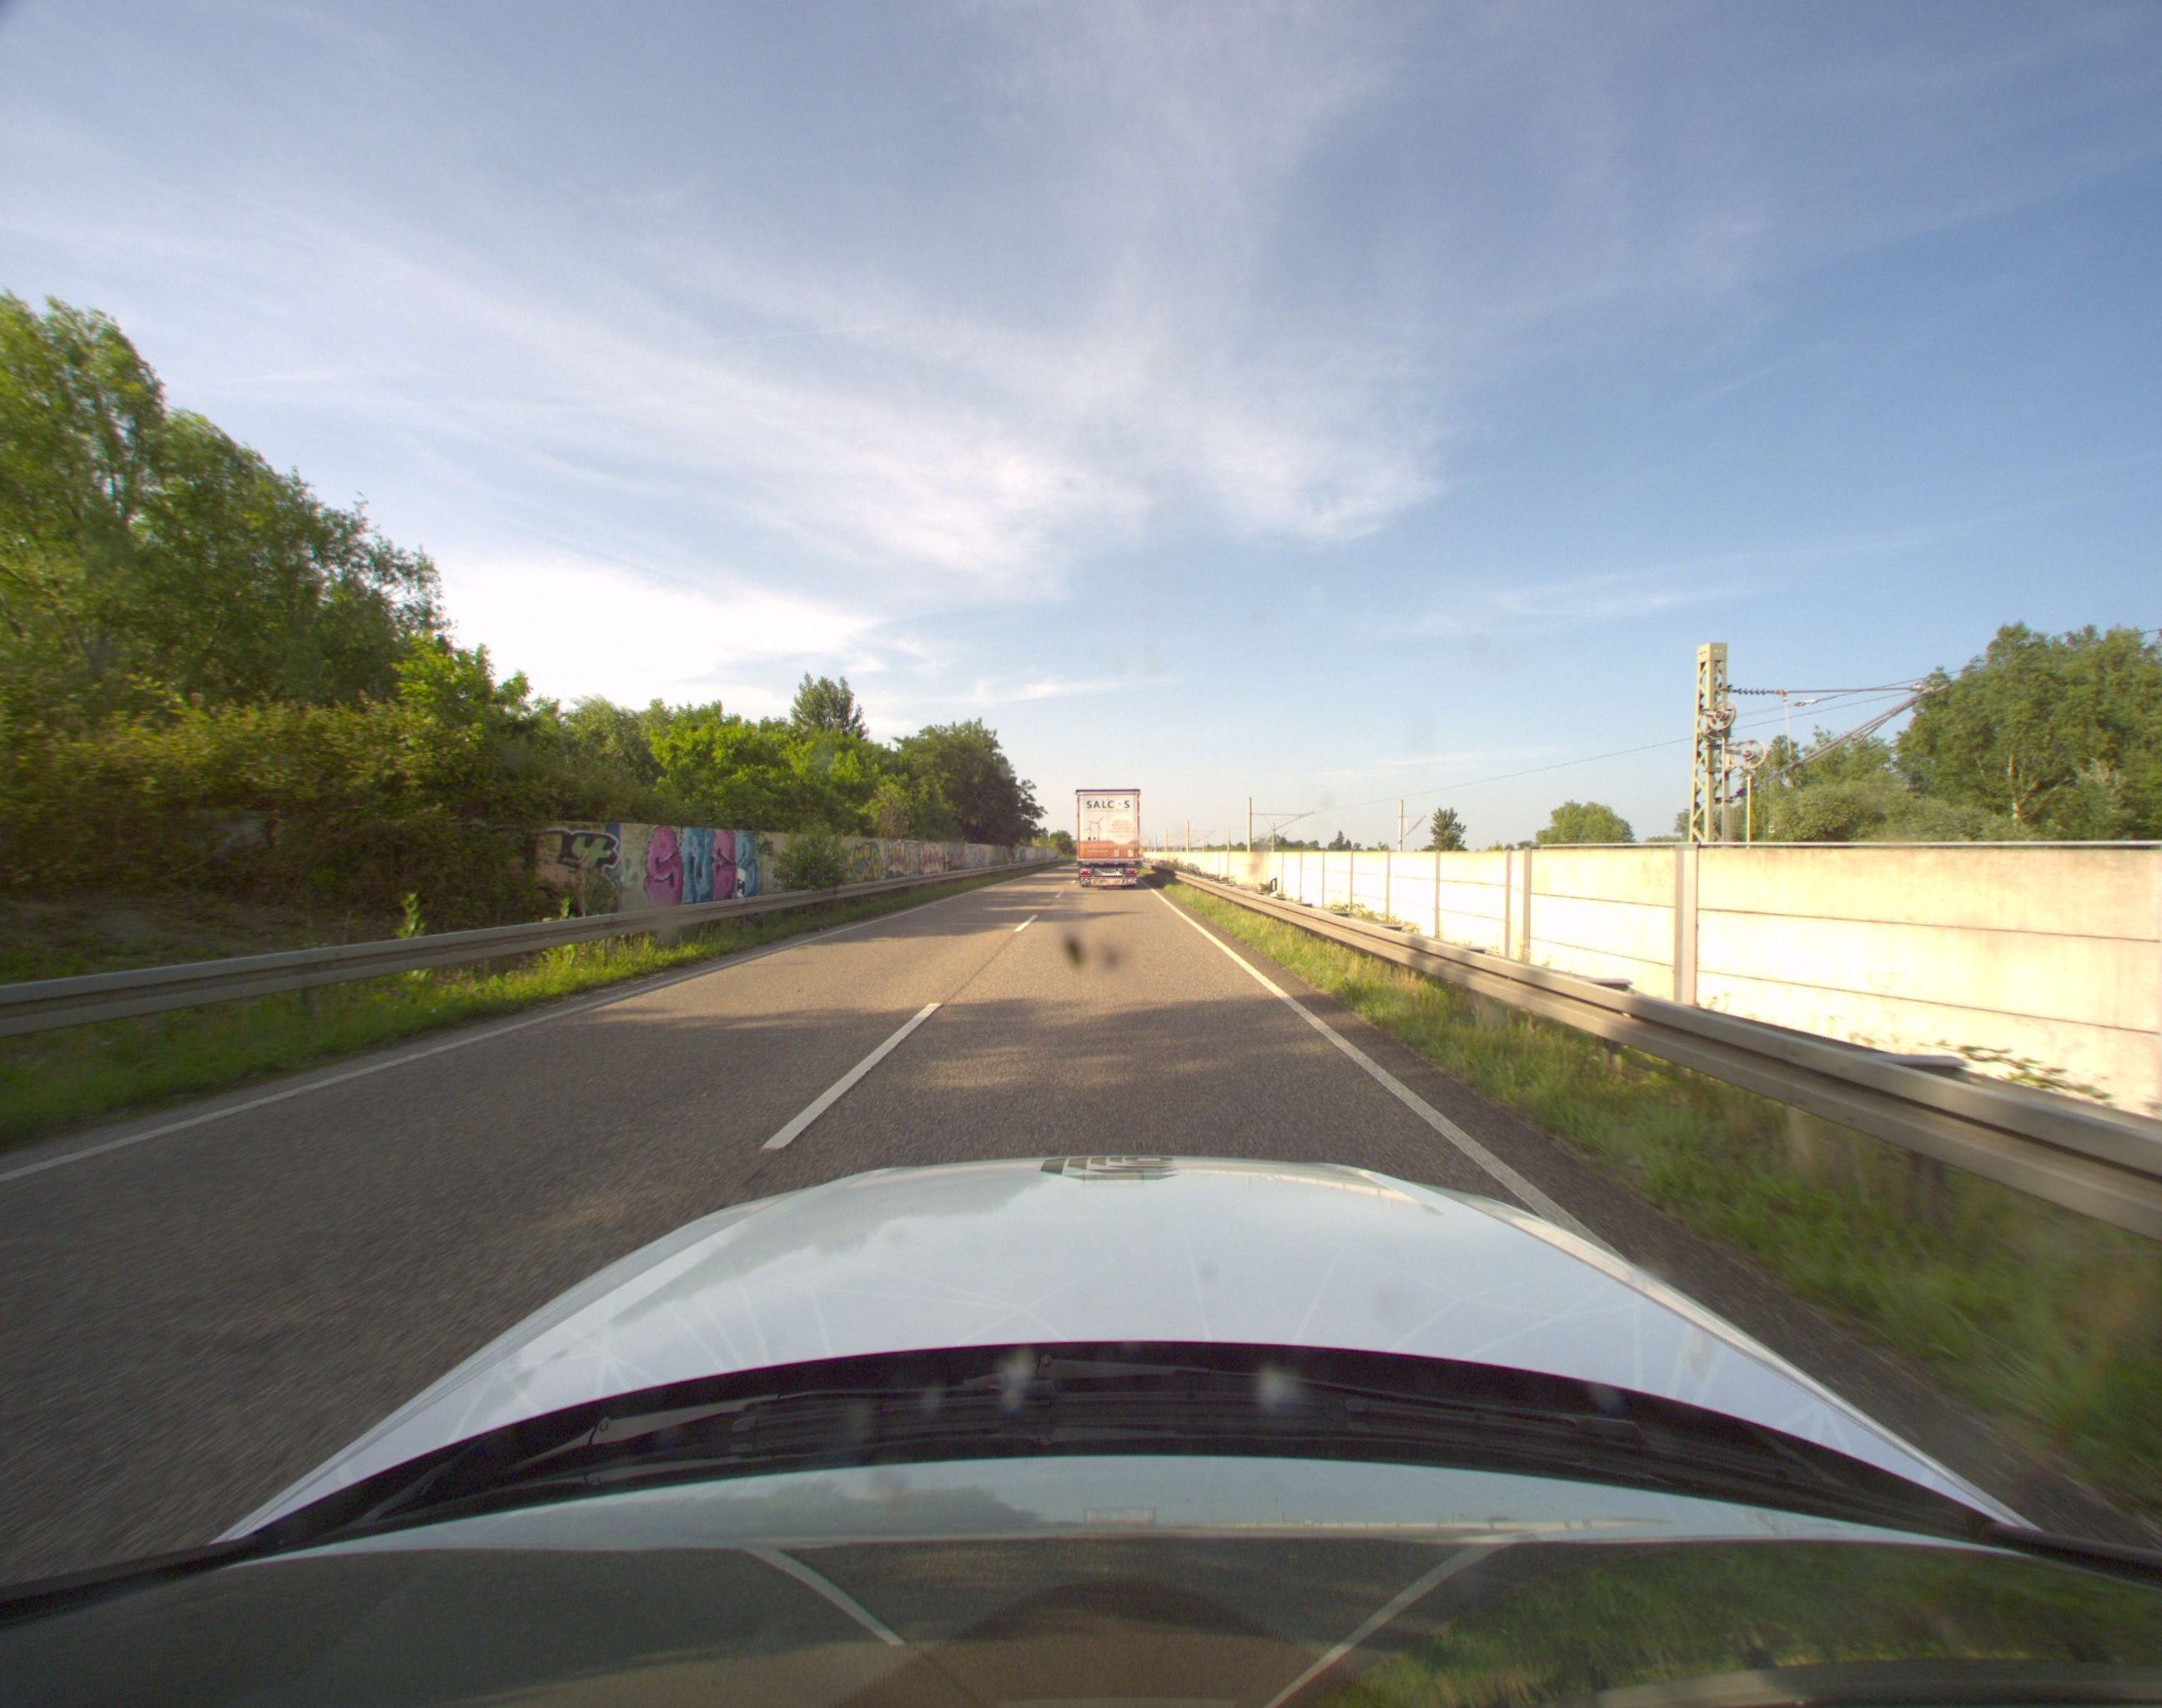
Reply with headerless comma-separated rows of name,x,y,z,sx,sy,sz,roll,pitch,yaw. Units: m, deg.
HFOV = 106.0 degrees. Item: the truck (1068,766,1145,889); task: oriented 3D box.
truck,1.071,-1.115,38.685,3.023,4.920,11.684,-1,0,0
